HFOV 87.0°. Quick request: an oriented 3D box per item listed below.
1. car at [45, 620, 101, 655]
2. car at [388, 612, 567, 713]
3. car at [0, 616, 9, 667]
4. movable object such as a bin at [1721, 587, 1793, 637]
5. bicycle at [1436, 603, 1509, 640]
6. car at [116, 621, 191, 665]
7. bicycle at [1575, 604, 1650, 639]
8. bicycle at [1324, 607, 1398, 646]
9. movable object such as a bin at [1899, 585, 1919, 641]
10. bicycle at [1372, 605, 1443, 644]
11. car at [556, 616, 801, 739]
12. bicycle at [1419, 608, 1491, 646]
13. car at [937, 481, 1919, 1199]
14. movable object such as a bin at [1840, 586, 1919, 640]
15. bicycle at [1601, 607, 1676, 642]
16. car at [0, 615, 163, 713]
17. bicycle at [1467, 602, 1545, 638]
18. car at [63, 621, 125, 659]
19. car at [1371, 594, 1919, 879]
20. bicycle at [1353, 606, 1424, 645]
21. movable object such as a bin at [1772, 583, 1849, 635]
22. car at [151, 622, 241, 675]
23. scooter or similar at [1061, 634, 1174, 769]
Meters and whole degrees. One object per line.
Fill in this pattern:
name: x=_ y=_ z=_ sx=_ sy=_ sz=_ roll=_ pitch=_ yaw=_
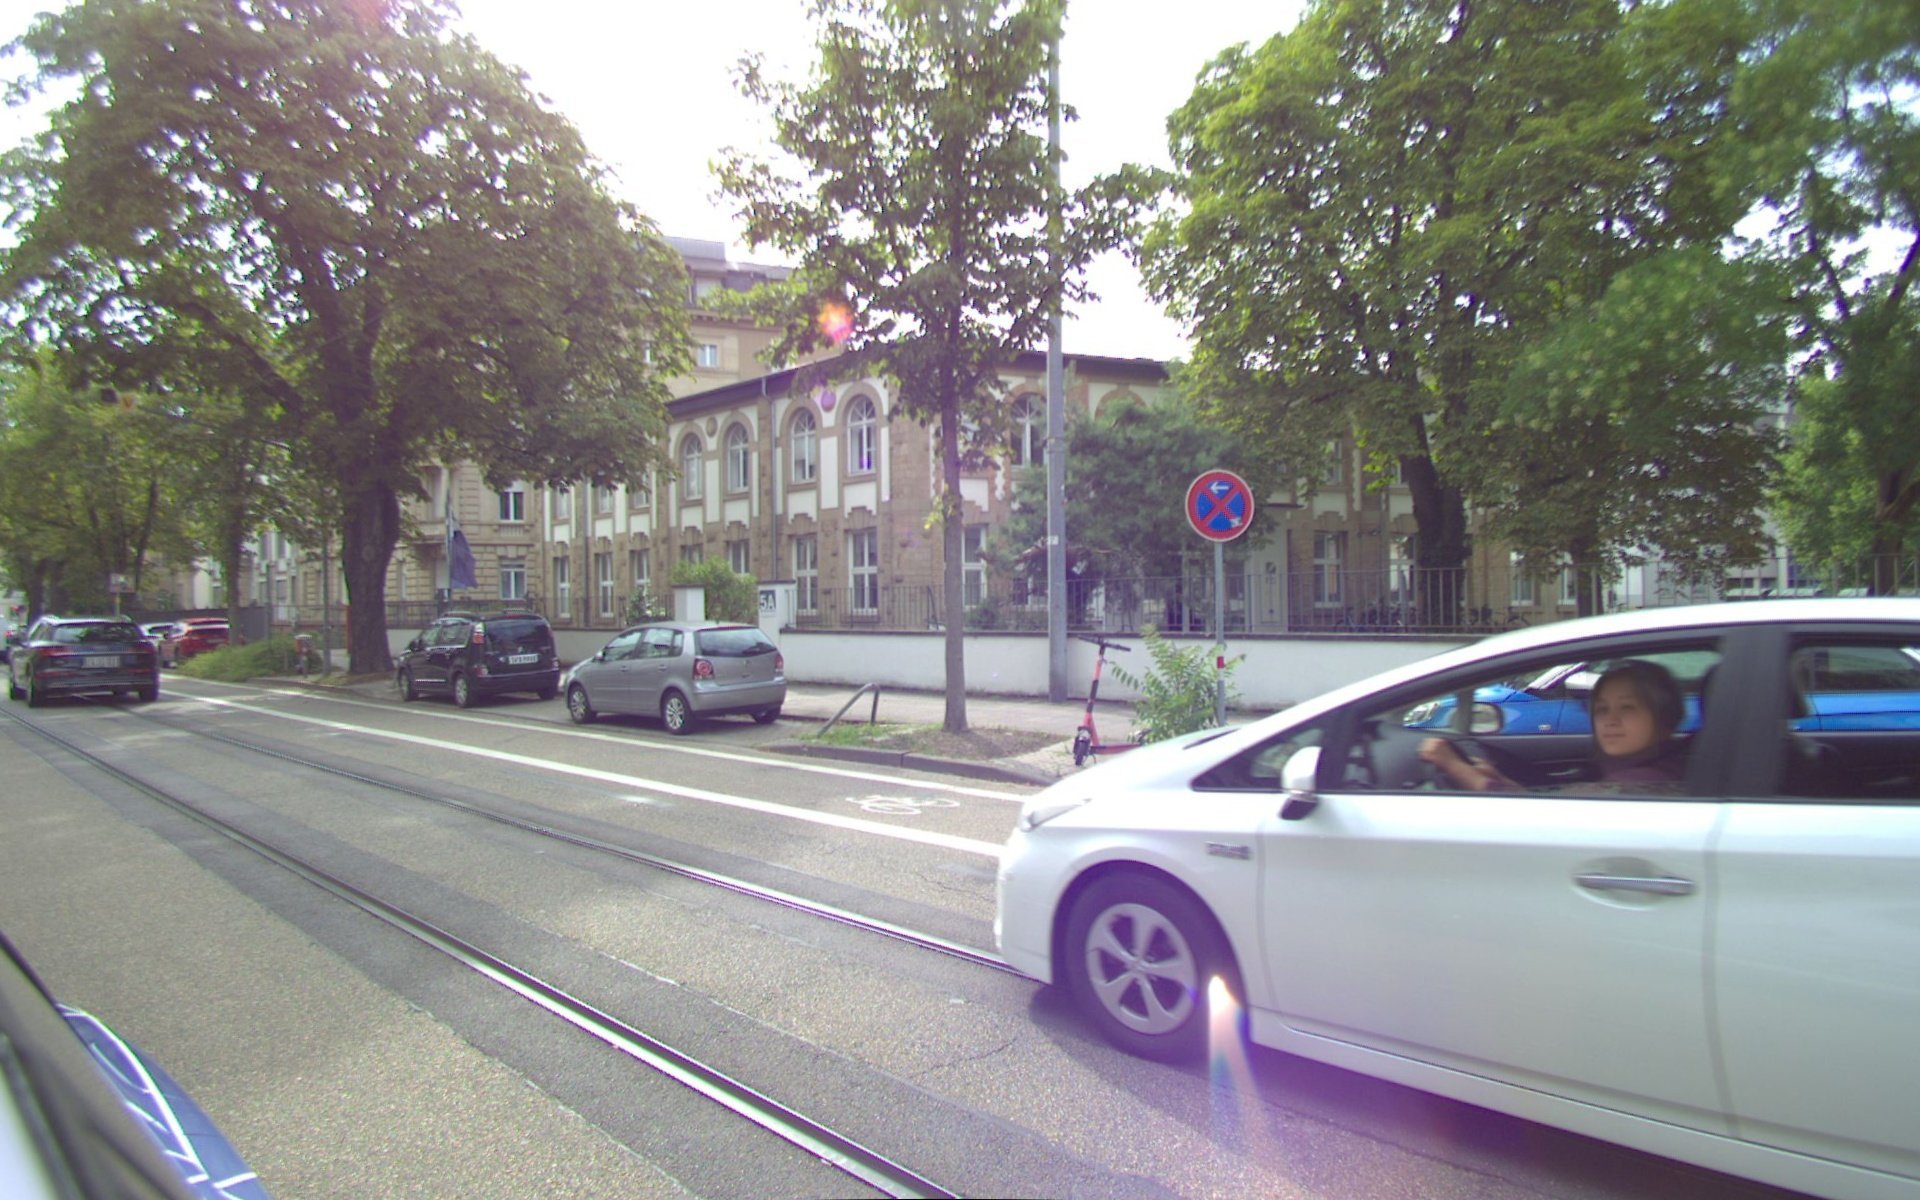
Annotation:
car: x=-45.422 y=1.900 z=51.810 sx=3.904 sy=1.646 sz=1.637 roll=-2 pitch=-1 yaw=41
car: x=-8.921 y=1.080 z=18.601 sx=3.723 sy=1.646 sz=1.637 roll=-2 pitch=-1 yaw=41
car: x=-36.859 y=1.547 z=37.613 sx=4.676 sy=1.837 sz=1.776 roll=-2 pitch=-1 yaw=41
movable object such as a bin: x=23.787 y=0.360 z=30.227 sx=1.103 sy=1.441 sz=1.288 roll=0 pitch=0 yaw=-21
bicycle: x=15.171 y=0.627 z=30.005 sx=0.584 sy=1.051 sz=1.984 roll=-1 pitch=0 yaw=-23
car: x=-31.971 y=1.683 z=40.086 sx=3.904 sy=1.613 sz=1.637 roll=-2 pitch=-1 yaw=41
bicycle: x=20.621 y=0.667 z=32.047 sx=0.584 sy=1.051 sz=1.984 roll=-1 pitch=0 yaw=-23
bicycle: x=11.305 y=0.736 z=28.604 sx=0.584 sy=1.051 sz=1.984 roll=-1 pitch=0 yaw=-30
movable object such as a bin: x=25.387 y=0.340 z=26.151 sx=1.103 sy=1.441 sz=1.288 roll=0 pitch=0 yaw=-21
bicycle: x=12.878 y=0.691 z=29.174 sx=0.584 sy=1.051 sz=1.984 roll=-1 pitch=0 yaw=-23
car: x=-4.016 y=0.996 z=14.203 sx=3.572 sy=1.476 sz=1.611 roll=-2 pitch=-1 yaw=41
bicycle: x=14.479 y=0.783 z=29.666 sx=0.584 sy=1.051 sz=1.984 roll=-1 pitch=0 yaw=-23
car: x=2.095 y=0.591 z=3.017 sx=4.333 sy=1.624 sz=1.714 roll=-2 pitch=-2 yaw=42
movable object such as a bin: x=25.009 y=0.345 z=27.470 sx=1.103 sy=1.441 sz=1.288 roll=0 pitch=0 yaw=-21
bicycle: x=21.841 y=0.776 z=32.598 sx=0.584 sy=1.051 sz=1.984 roll=-1 pitch=0 yaw=-23
car: x=-16.942 y=1.149 z=19.423 sx=4.332 sy=1.624 sz=1.828 roll=-2 pitch=-1 yaw=41
bicycle: x=16.692 y=0.609 z=30.970 sx=1.978 sy=1.051 sz=0.586 roll=-1 pitch=0 yaw=44
car: x=-40.073 y=1.831 z=46.818 sx=3.904 sy=1.646 sz=1.637 roll=-2 pitch=-1 yaw=41
car: x=4.780 y=0.731 z=6.535 sx=3.600 sy=1.476 sz=1.611 roll=-2 pitch=-1 yaw=41
bicycle: x=12.183 y=0.715 z=28.841 sx=0.584 sy=1.051 sz=1.984 roll=-1 pitch=0 yaw=-23
movable object such as a bin: x=24.298 y=0.263 z=28.931 sx=1.103 sy=1.441 sz=1.288 roll=0 pitch=0 yaw=-21
car: x=-25.677 y=1.587 z=33.967 sx=3.904 sy=1.646 sz=1.637 roll=-2 pitch=-1 yaw=41
scooter or similar: x=1.479 y=0.927 z=9.500 sx=0.987 sy=1.176 sz=0.370 roll=-1 pitch=-1 yaw=-24
